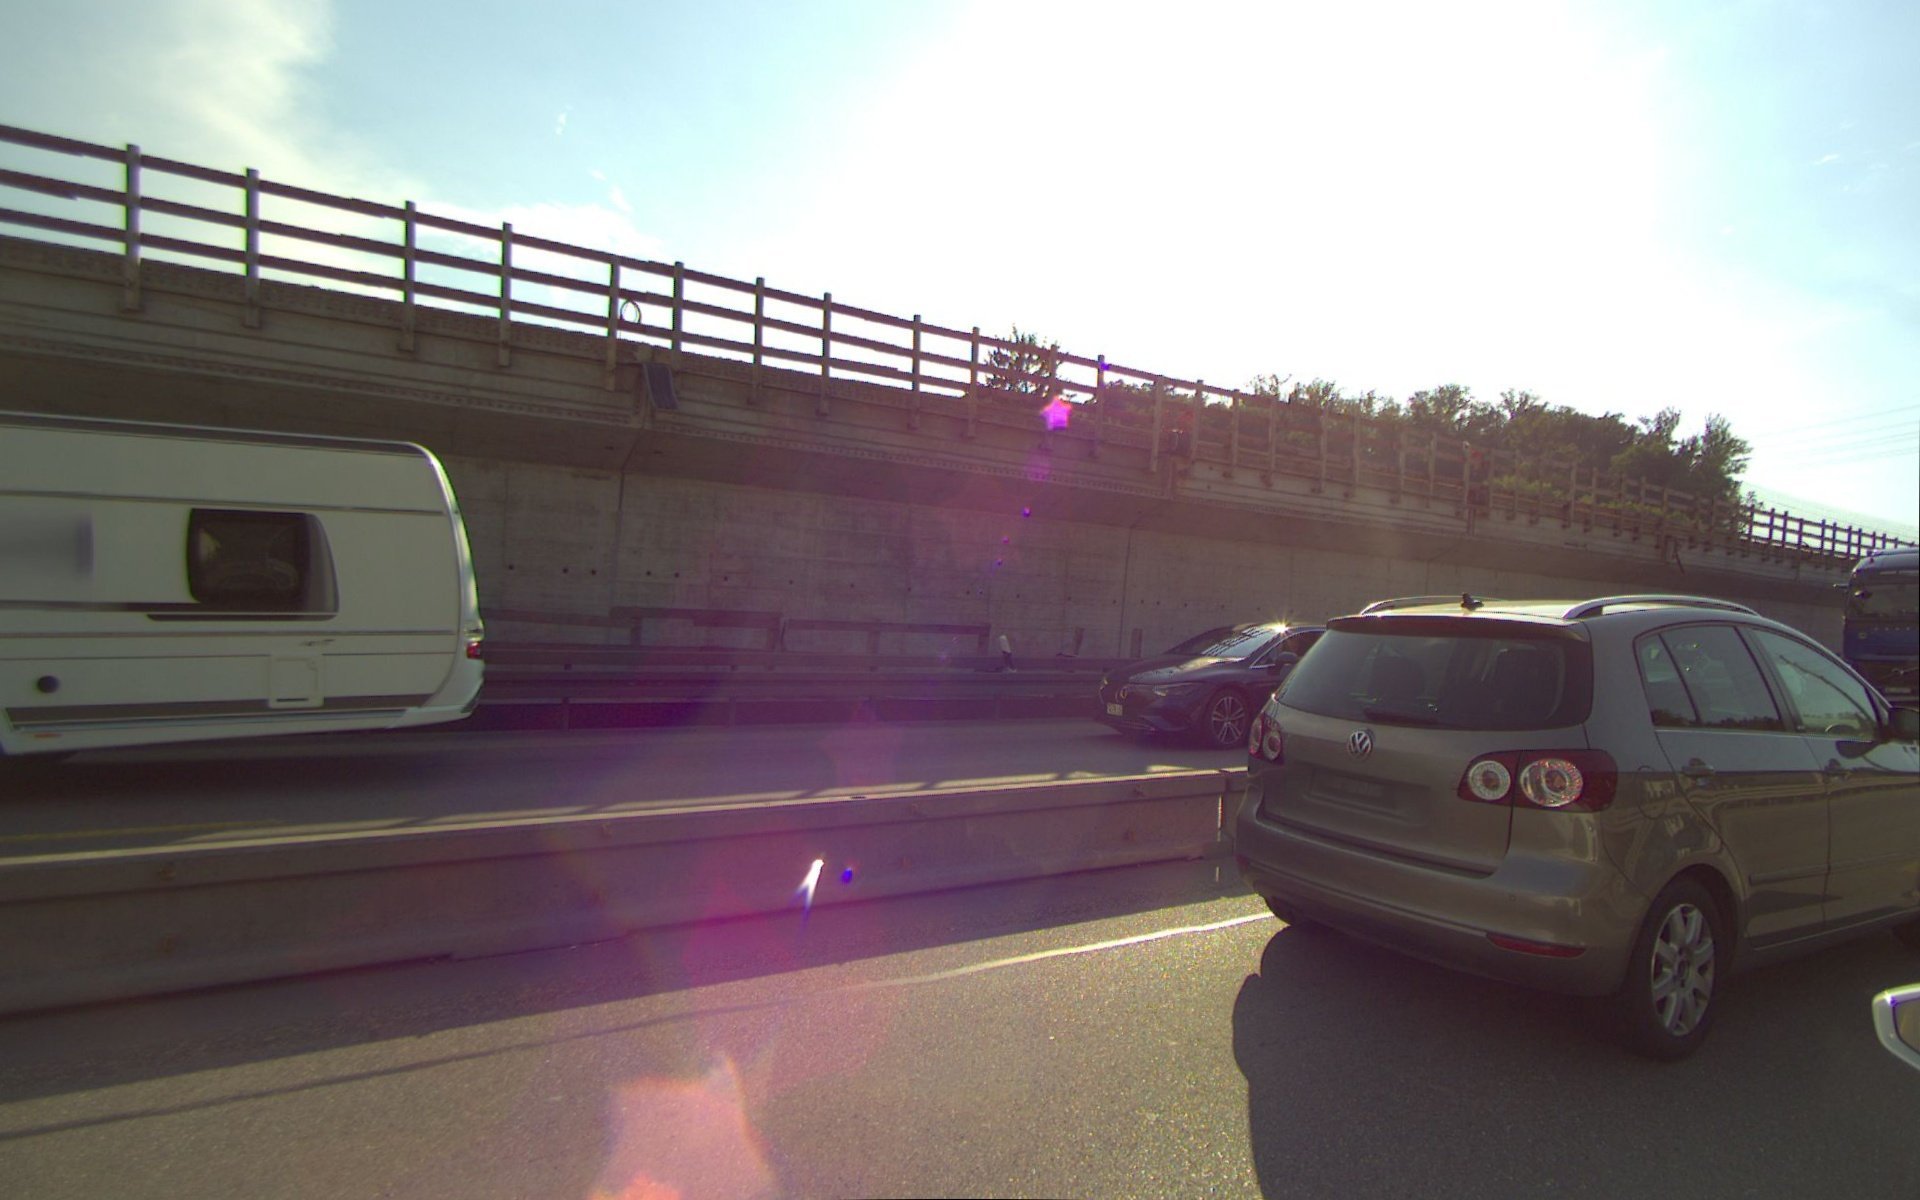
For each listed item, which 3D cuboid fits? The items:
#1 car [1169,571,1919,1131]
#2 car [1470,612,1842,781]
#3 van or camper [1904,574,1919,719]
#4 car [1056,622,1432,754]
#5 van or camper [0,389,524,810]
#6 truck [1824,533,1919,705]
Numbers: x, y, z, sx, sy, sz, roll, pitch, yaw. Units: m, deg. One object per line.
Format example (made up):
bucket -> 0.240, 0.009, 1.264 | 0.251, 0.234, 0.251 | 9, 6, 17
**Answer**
car -> 3.149, 0.774, 4.686 | 4.221, 1.609, 1.673 | 2, -1, -30
car -> 8.535, 1.113, 12.202 | 4.813, 1.615, 1.827 | 3, 1, -31
van or camper -> 21.096, 0.957, 19.892 | 5.889, 2.742, 1.984 | 2, -2, -31
car -> 3.793, 1.067, 13.126 | 4.844, 1.439, 1.962 | 2, -2, -31
van or camper -> -6.822, -0.006, 7.384 | 6.378, 2.698, 2.301 | 2, -1, -30
truck -> 26.967, 0.618, 27.266 | 9.520, 4.167, 2.610 | 2, -2, -32
